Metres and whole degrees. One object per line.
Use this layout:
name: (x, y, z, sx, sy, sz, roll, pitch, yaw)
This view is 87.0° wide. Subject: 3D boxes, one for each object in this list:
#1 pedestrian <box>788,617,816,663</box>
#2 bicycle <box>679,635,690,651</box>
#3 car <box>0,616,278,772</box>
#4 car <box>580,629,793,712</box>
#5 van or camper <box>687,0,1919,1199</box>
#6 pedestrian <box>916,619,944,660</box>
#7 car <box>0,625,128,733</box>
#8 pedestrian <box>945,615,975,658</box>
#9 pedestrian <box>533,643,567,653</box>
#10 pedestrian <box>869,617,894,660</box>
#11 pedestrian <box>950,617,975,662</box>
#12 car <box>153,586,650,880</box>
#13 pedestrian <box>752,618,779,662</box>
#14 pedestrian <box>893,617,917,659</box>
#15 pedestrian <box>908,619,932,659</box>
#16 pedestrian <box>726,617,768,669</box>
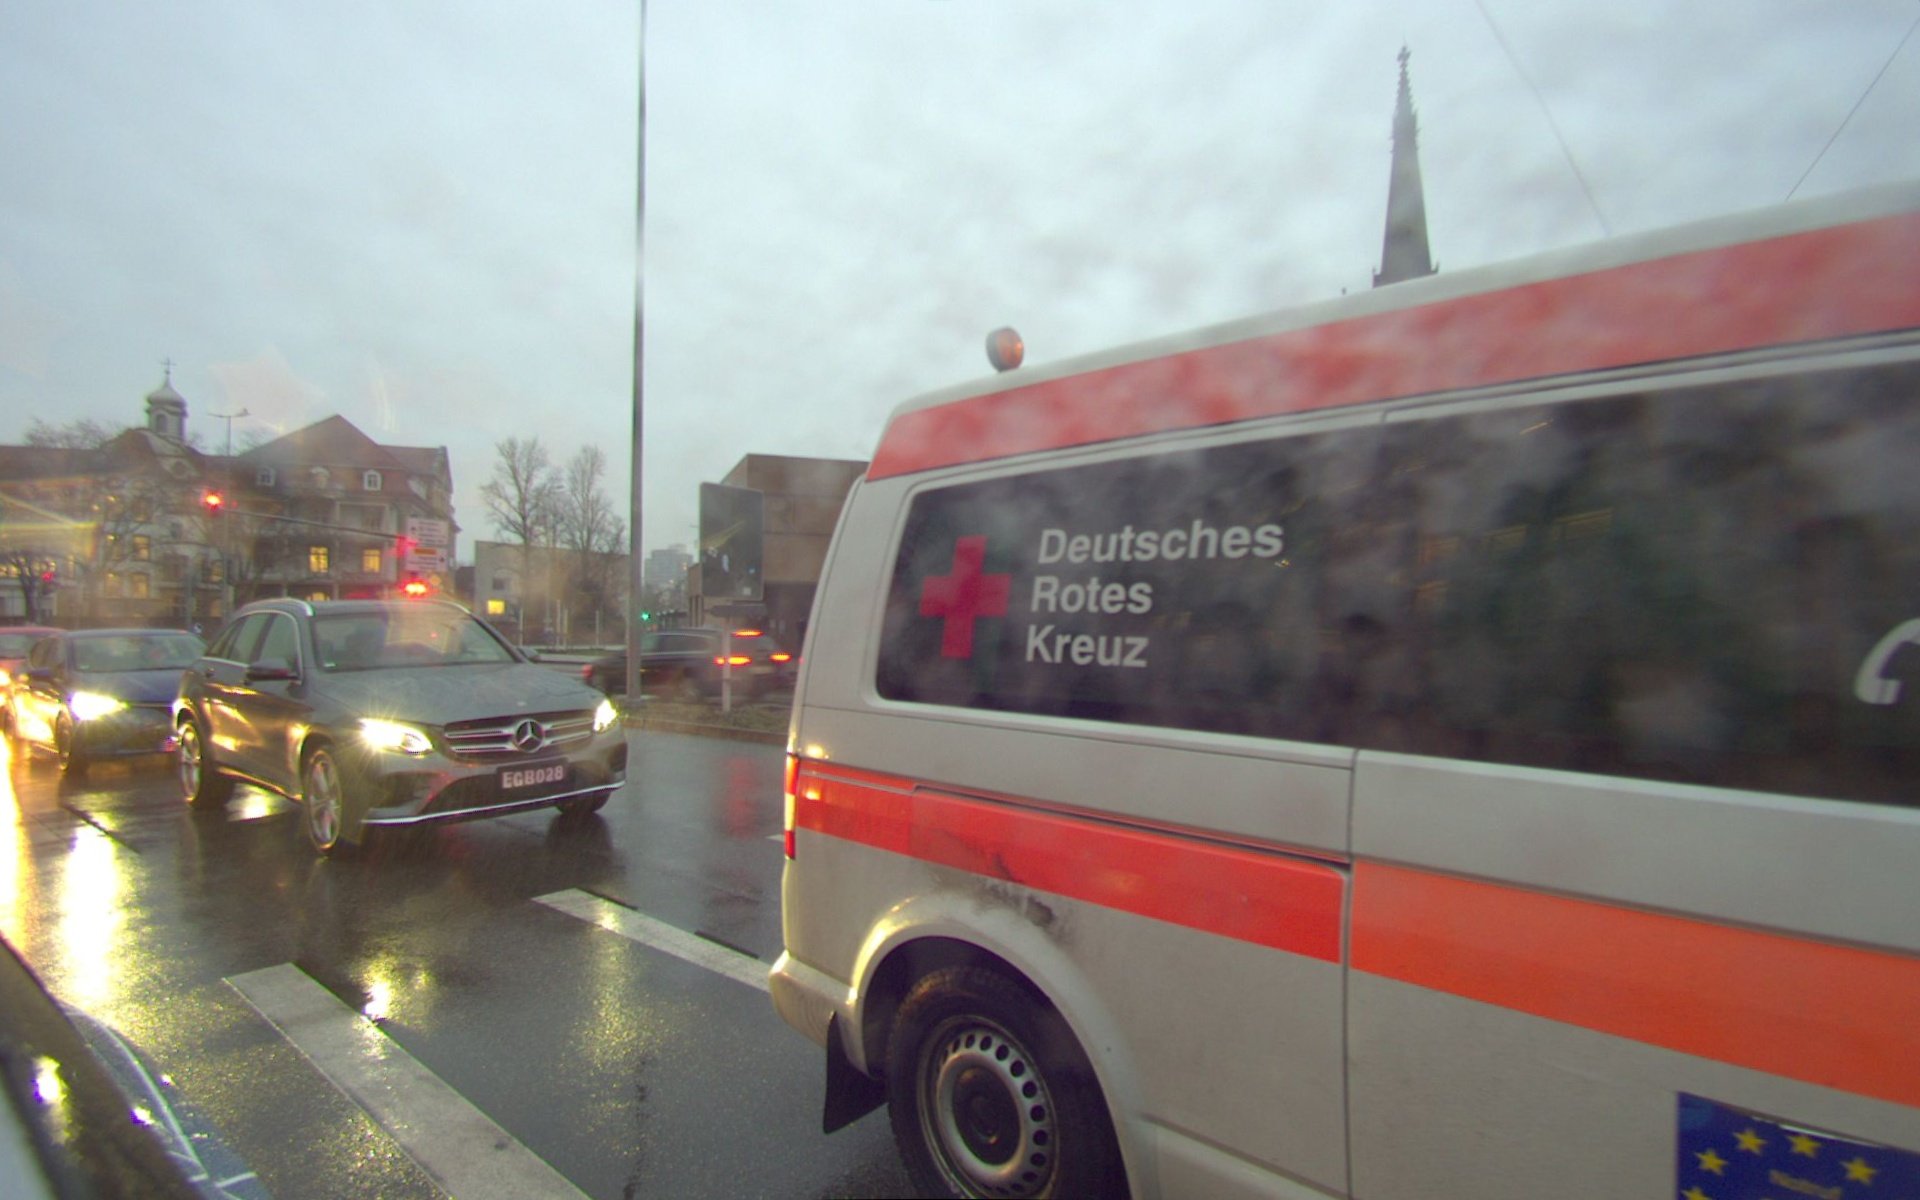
pedestrian: (-6.114, 1.542, 39.150, 0.828, 1.781, 0.657, -1, -3, 23)
bicycle: (-20.631, 3.247, 75.818, 0.636, 1.113, 2.759, -1, -3, -17)
car: (-9.385, 0.917, 11.302, 4.112, 1.414, 1.644, -1, 0, 36)
car: (-5.407, 1.298, 19.749, 4.443, 1.383, 1.657, -1, 0, 38)
van or camper: (1.804, 0.348, 1.942, 4.987, 2.125, 2.178, -1, -1, 43)
pedestrian: (-1.225, 1.600, 40.610, 0.841, 1.615, 0.968, 1, -3, -21)
car: (-15.049, 1.193, 16.214, 3.863, 1.493, 1.686, -1, 0, 35)
pedestrian: (-0.009, 1.652, 45.909, 1.104, 1.933, 1.065, 1, -3, -15)
pedestrian: (-40.917, 4.801, 101.053, 3.047, 0.937, 0.951, -1, -3, -16)
pedestrian: (-3.245, 1.584, 41.743, 0.731, 1.739, 0.745, 3, -3, -42)
pedestrian: (0.101, 1.566, 40.387, 0.757, 1.764, 0.795, -1, -3, 22)
car: (-4.439, 0.775, 7.705, 4.536, 1.613, 1.767, -1, -1, 39)
pedestrian: (-7.736, 1.584, 40.273, 0.731, 1.739, 0.745, 3, -3, -42)
pedestrian: (-2.290, 1.607, 42.453, 0.740, 1.739, 0.736, -1, -3, 26)
pedestrian: (-1.767, 1.707, 44.703, 0.741, 1.739, 0.735, -1, -3, 31)
pedestrian: (-7.951, 1.604, 37.894, 1.027, 1.872, 1.227, -3, -3, 18)
